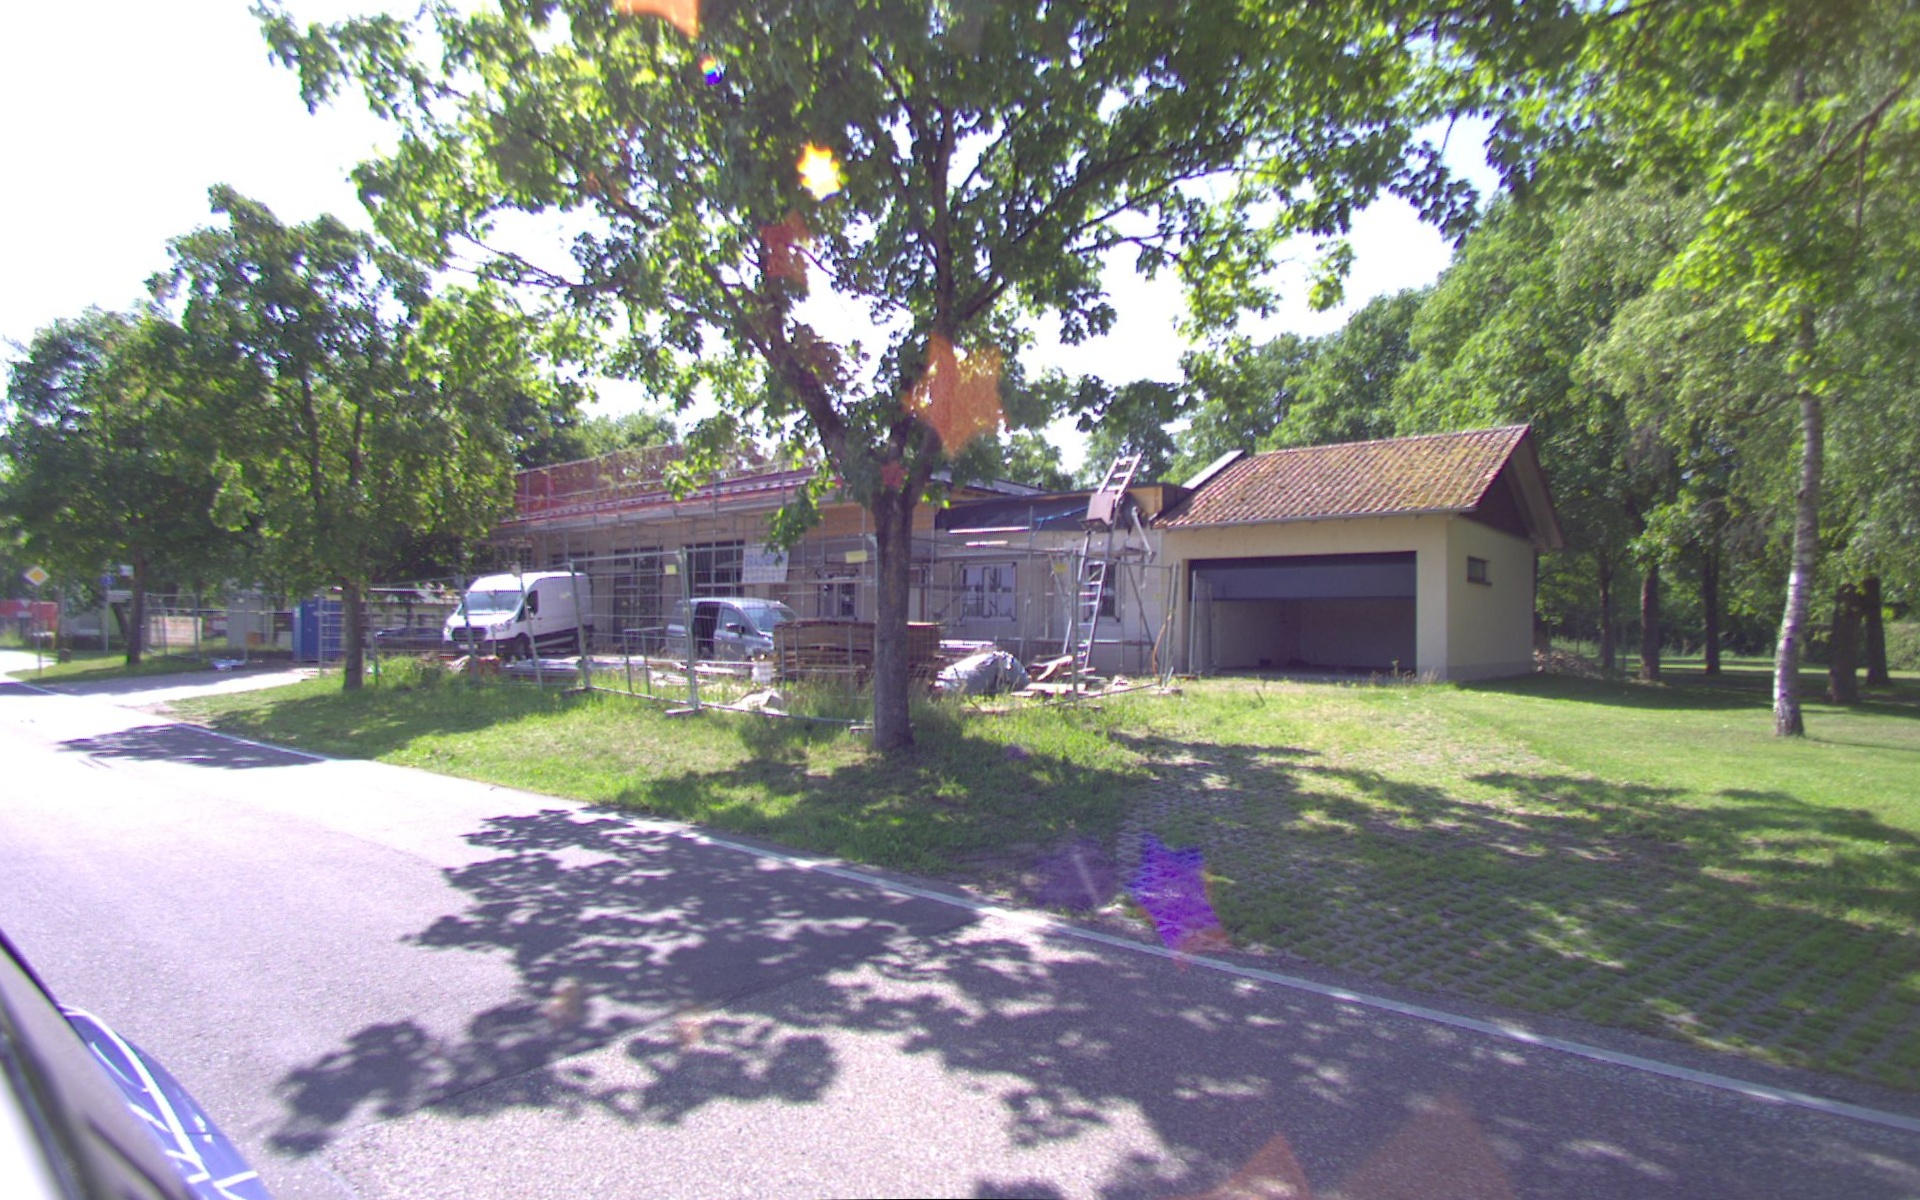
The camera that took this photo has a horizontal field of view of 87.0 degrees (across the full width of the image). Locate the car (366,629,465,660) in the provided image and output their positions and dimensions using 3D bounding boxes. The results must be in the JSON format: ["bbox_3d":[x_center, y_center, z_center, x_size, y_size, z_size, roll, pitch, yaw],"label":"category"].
[{"bbox_3d":[-25.887,2.123,48.247,1.754,1.410,3.769,-1,-2,33],"label":"car"}]

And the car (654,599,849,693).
[{"bbox_3d":[-4.614,0.941,22.116,4.325,1.852,1.950,-1,-2,40],"label":"car"}]

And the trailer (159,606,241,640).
[{"bbox_3d":[-53.273,1.660,71.056,1.819,2.295,4.198,0,-2,27],"label":"trailer"}]

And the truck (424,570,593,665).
[{"bbox_3d":[-13.010,0.518,29.703,1.974,2.502,5.925,0,-1,4],"label":"truck"}]
